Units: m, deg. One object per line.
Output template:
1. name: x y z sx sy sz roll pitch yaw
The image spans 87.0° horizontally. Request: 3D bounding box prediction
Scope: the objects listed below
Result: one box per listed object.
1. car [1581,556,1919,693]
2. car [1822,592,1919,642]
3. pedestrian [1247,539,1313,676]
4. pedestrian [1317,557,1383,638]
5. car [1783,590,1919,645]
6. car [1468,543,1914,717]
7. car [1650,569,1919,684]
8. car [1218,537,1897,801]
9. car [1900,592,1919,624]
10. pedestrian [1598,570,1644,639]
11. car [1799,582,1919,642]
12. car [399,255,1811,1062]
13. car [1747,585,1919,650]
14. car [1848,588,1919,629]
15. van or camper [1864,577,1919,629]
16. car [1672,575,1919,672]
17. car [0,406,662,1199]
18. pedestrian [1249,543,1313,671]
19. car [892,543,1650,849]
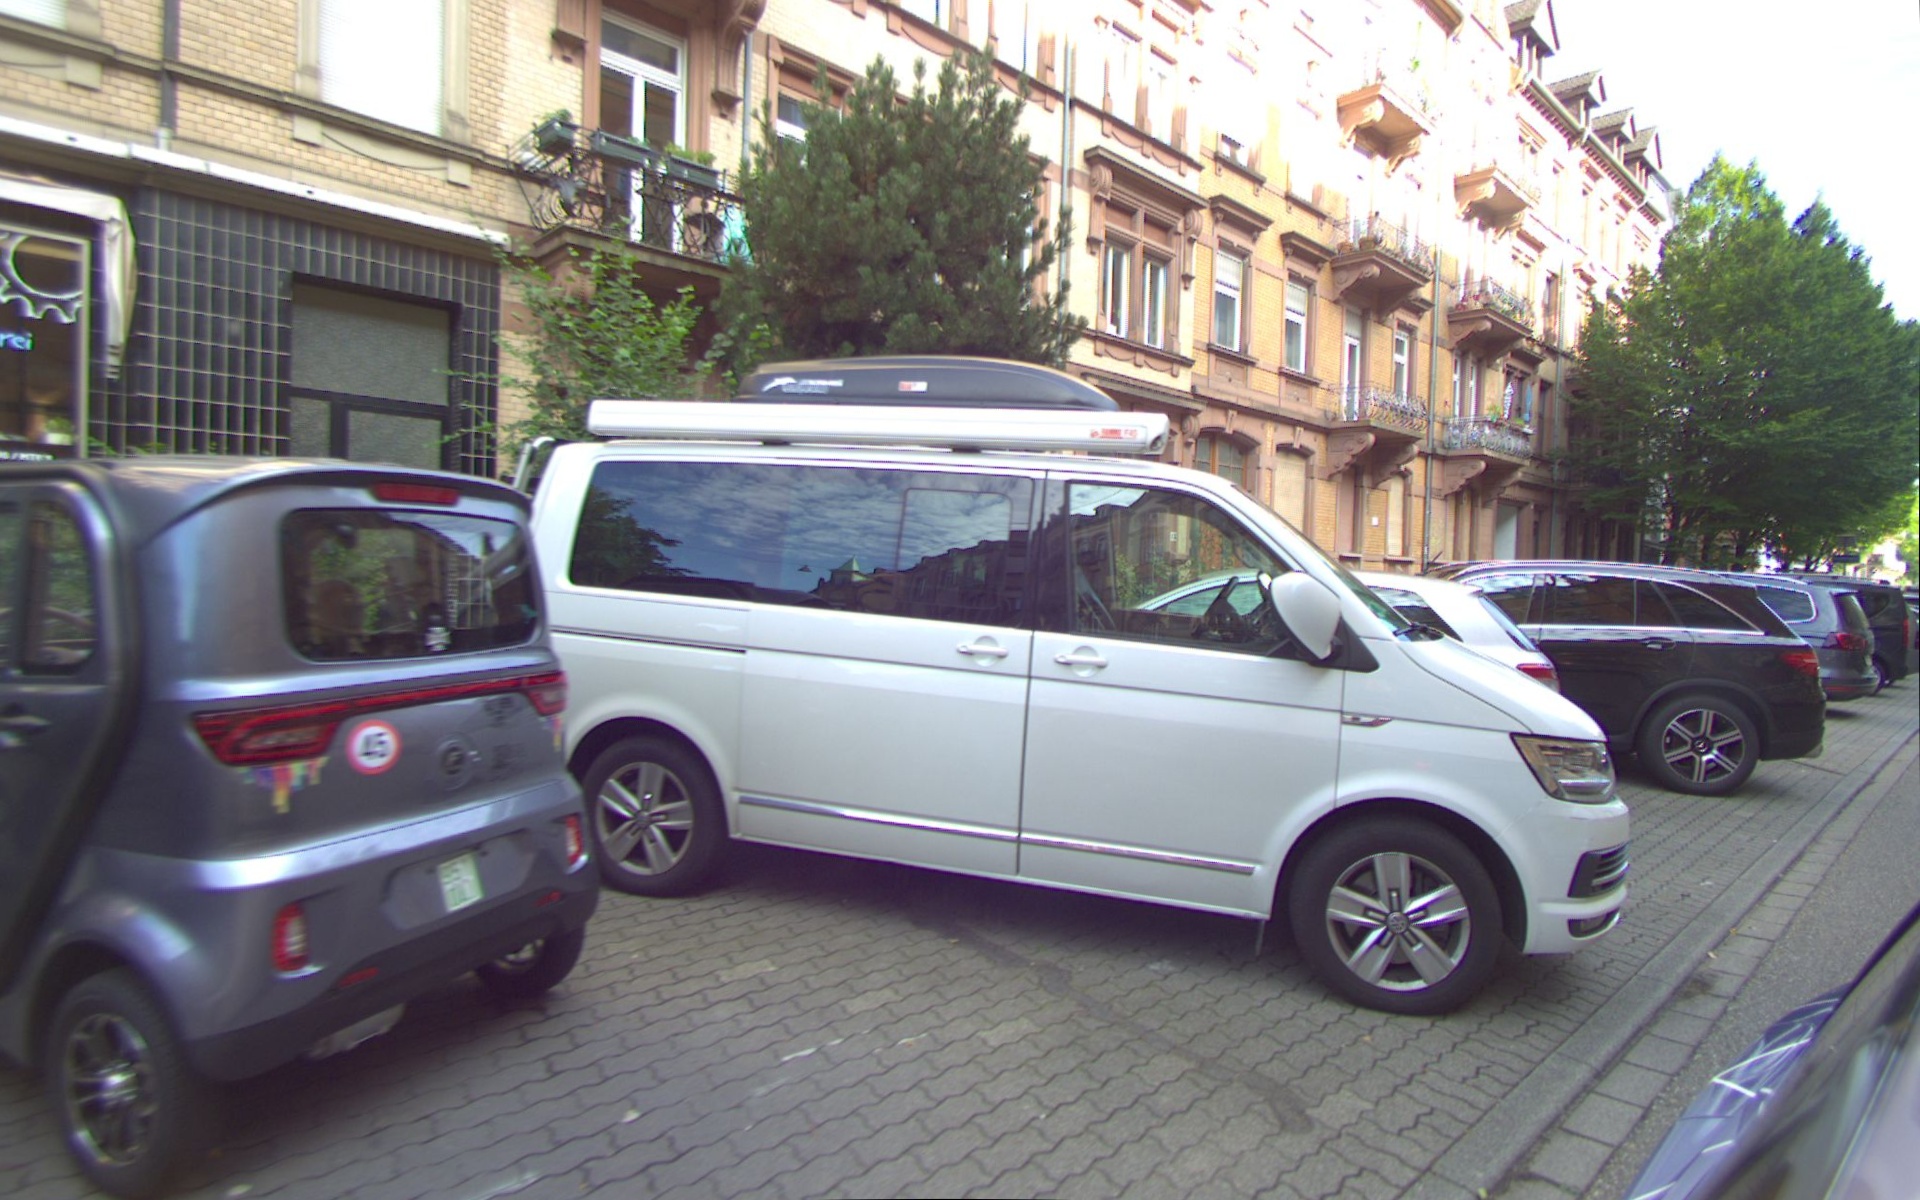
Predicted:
1. car: 12.976 0.315 16.577 4.344 1.844 1.747 4 3 17
2. car: 31.247 0.547 33.218 4.061 1.539 1.839 1 2 12
3. pedestrian: 4.105 0.089 13.028 0.636 1.716 0.698 1 0 4
4. pedestrian: 7.591 -0.061 19.710 0.927 1.515 0.800 4 2 41
5. car: 26.954 0.512 29.528 4.075 1.435 1.862 3 1 13
6. car: 9.862 0.281 13.985 1.779 1.806 4.645 3 3 -43
7. car: 15.053 0.415 18.155 3.947 1.762 1.830 3 2 17
8. car: 4.458 0.431 8.398 4.391 1.754 1.992 1 1 13
9. car: 52.616 0.443 53.355 3.945 1.694 1.917 1 1 17
10. pedestrian: 16.439 0.089 25.182 0.820 1.653 0.732 -1 4 -45
11. car: 29.025 0.391 31.534 3.940 1.720 1.845 3 1 13
12. car: 0.269 0.032 4.646 5.087 2.434 1.909 3 2 15
13. car: 24.460 0.483 27.379 4.549 1.469 1.784 4 3 16
14. car: 40.725 0.451 42.465 4.742 1.562 1.862 4 3 16
15. van or camper: 42.514 0.144 44.218 3.947 2.206 1.989 1 1 18
16. car: 16.811 0.427 19.991 3.938 1.567 1.864 4 3 11
17. car: -2.365 0.367 3.031 2.441 1.687 1.337 6 2 22
18. pedestrian: 4.343 0.086 13.683 0.622 1.680 0.574 0 0 -42
19. car: 1.820 0.480 6.772 4.174 1.569 1.866 2 0 13
